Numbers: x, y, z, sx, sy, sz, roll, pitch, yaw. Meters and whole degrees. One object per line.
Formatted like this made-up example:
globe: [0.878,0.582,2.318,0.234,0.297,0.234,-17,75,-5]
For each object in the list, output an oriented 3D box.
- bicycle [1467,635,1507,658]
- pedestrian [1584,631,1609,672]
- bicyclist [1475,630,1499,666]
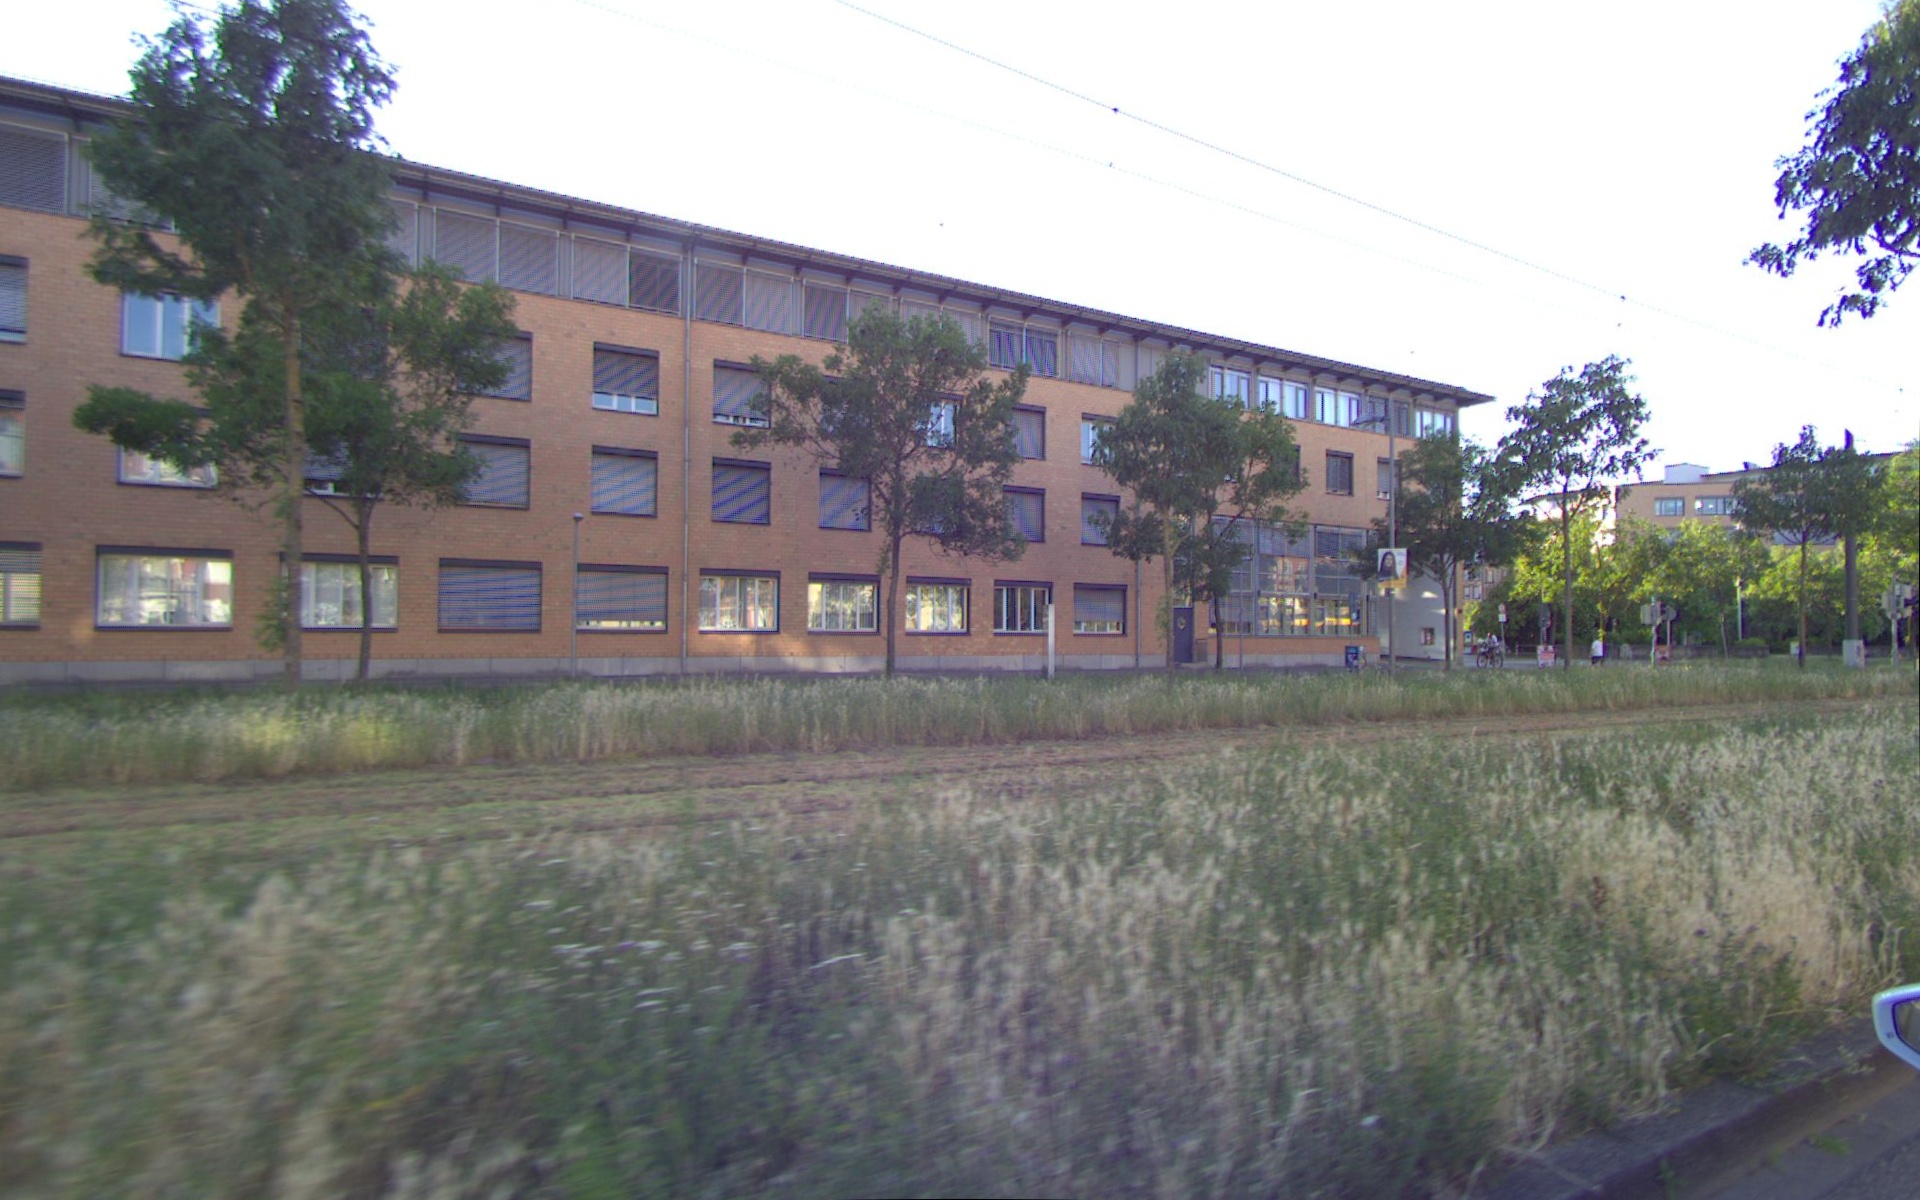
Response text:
bicycle: [25.065,2.227,47.775,2.069,1.066,0.706,2,-2,-30]
pedestrian: [27.595,2.218,43.542,0.821,1.720,0.683,1,-2,-37]
bicyclist: [25.086,2.289,47.781,0.815,1.696,0.692,1,-1,-30]
